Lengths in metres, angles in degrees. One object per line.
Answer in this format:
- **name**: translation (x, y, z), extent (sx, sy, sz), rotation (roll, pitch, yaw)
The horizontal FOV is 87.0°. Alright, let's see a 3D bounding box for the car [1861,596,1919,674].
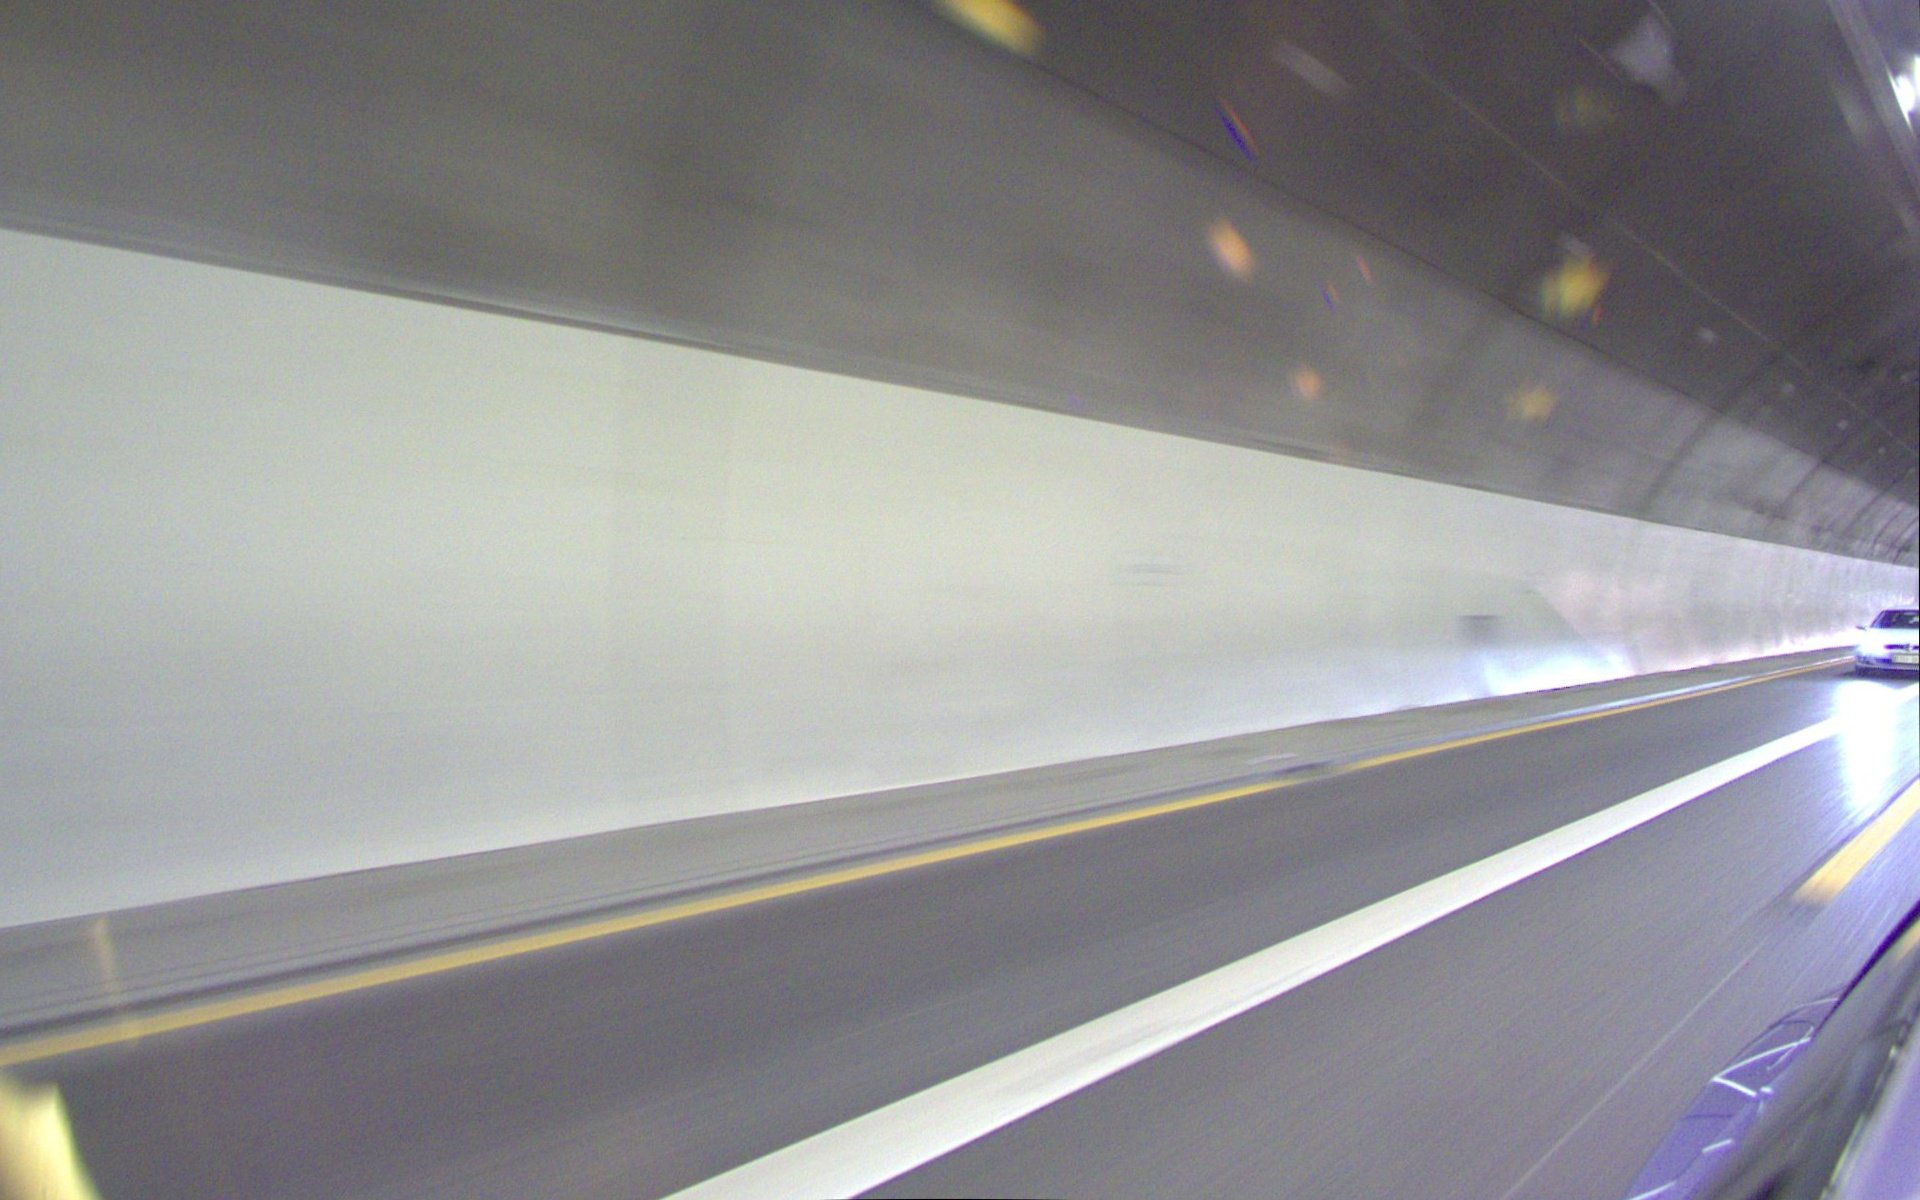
- **car**: translation (19.912, 0.676, 20.624), extent (3.963, 1.479, 1.800), rotation (0, 0, -40)
